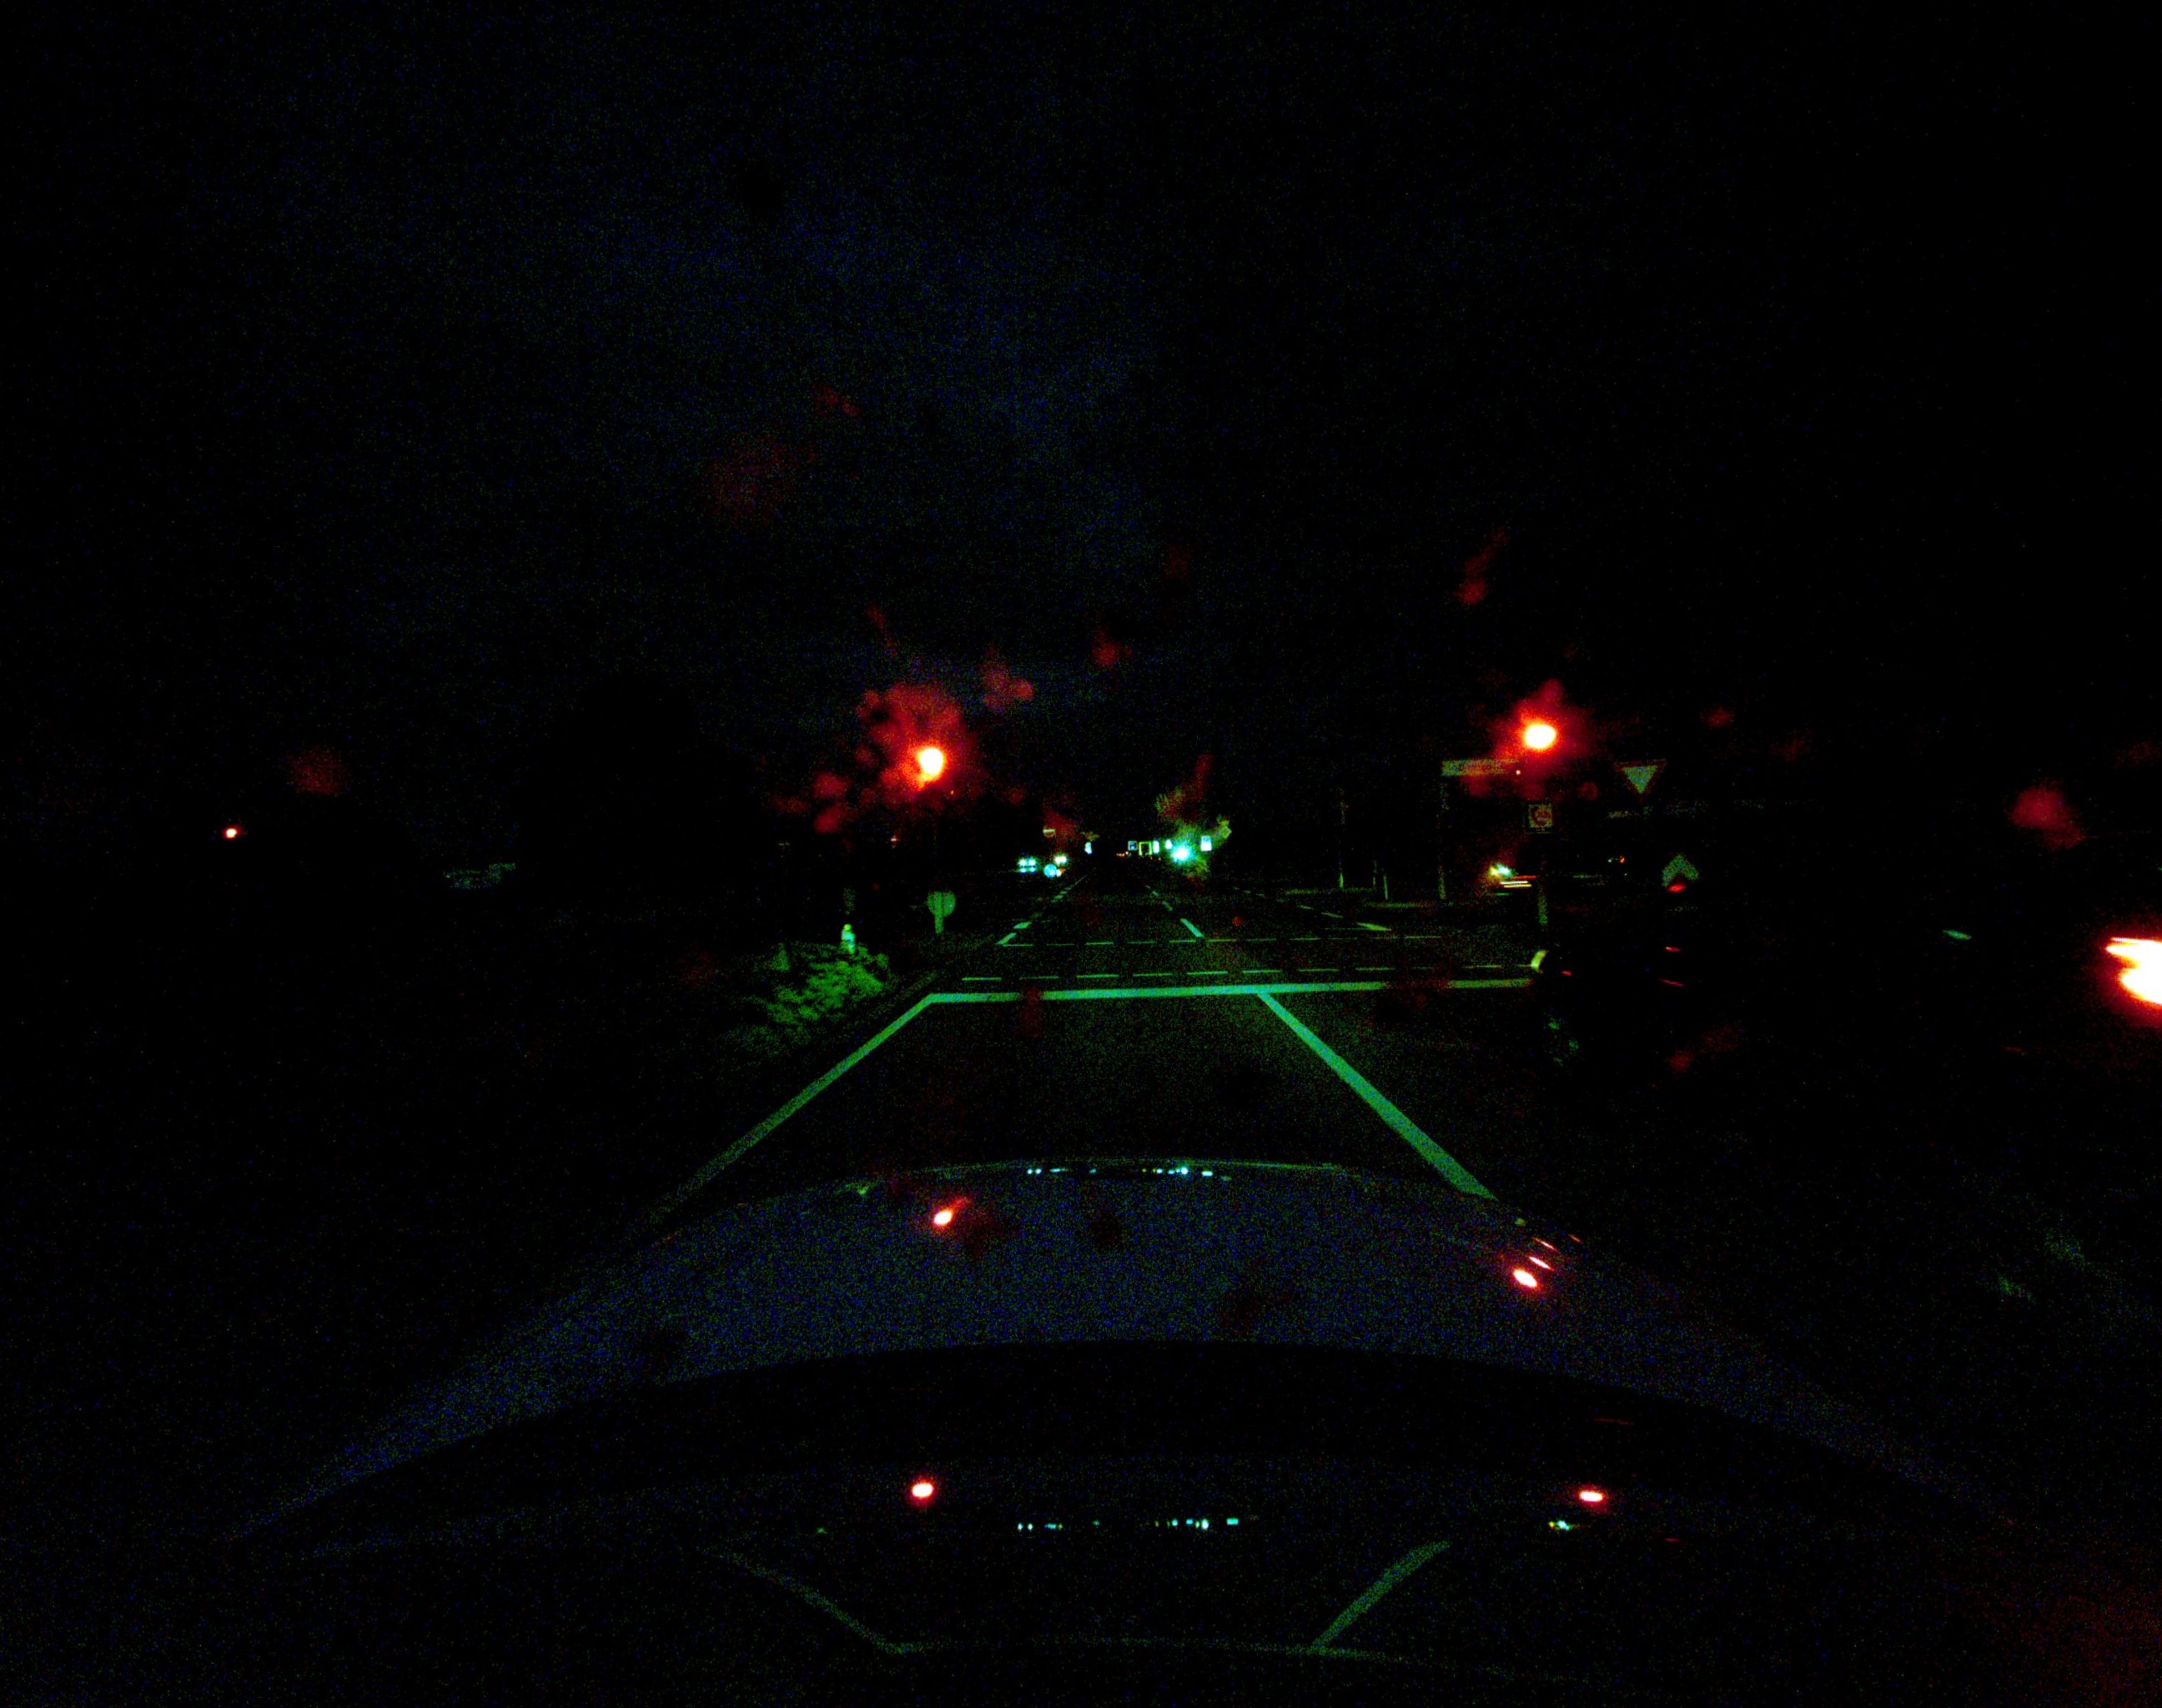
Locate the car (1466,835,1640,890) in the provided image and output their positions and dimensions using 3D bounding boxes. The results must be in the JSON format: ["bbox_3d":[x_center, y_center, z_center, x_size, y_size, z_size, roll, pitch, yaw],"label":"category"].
[{"bbox_3d":[15.652,0.276,27.205,4.583,1.520,2.001,-3,0,2],"label":"car"}]

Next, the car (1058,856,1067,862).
[{"bbox_3d":[-4.573,1.270,201.896,1.986,1.387,4.002,-2,0,2],"label":"car"}]

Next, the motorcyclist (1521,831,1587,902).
[{"bbox_3d":[11.144,0.288,19.222,0.963,1.584,1.144,-3,0,11],"label":"motorcyclist"}]

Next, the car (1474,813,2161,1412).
[{"bbox_3d":[3.679,0.638,4.028,1.663,1.520,4.109,-1,0,3],"label":"car"}]

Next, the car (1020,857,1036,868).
[{"bbox_3d":[-7.995,1.271,123.777,1.986,1.519,4.299,-2,0,2],"label":"car"}]

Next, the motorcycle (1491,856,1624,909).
[{"bbox_3d":[11.098,0.666,19.069,2.483,1.098,0.985,-3,0,12],"label":"motorcycle"}]
